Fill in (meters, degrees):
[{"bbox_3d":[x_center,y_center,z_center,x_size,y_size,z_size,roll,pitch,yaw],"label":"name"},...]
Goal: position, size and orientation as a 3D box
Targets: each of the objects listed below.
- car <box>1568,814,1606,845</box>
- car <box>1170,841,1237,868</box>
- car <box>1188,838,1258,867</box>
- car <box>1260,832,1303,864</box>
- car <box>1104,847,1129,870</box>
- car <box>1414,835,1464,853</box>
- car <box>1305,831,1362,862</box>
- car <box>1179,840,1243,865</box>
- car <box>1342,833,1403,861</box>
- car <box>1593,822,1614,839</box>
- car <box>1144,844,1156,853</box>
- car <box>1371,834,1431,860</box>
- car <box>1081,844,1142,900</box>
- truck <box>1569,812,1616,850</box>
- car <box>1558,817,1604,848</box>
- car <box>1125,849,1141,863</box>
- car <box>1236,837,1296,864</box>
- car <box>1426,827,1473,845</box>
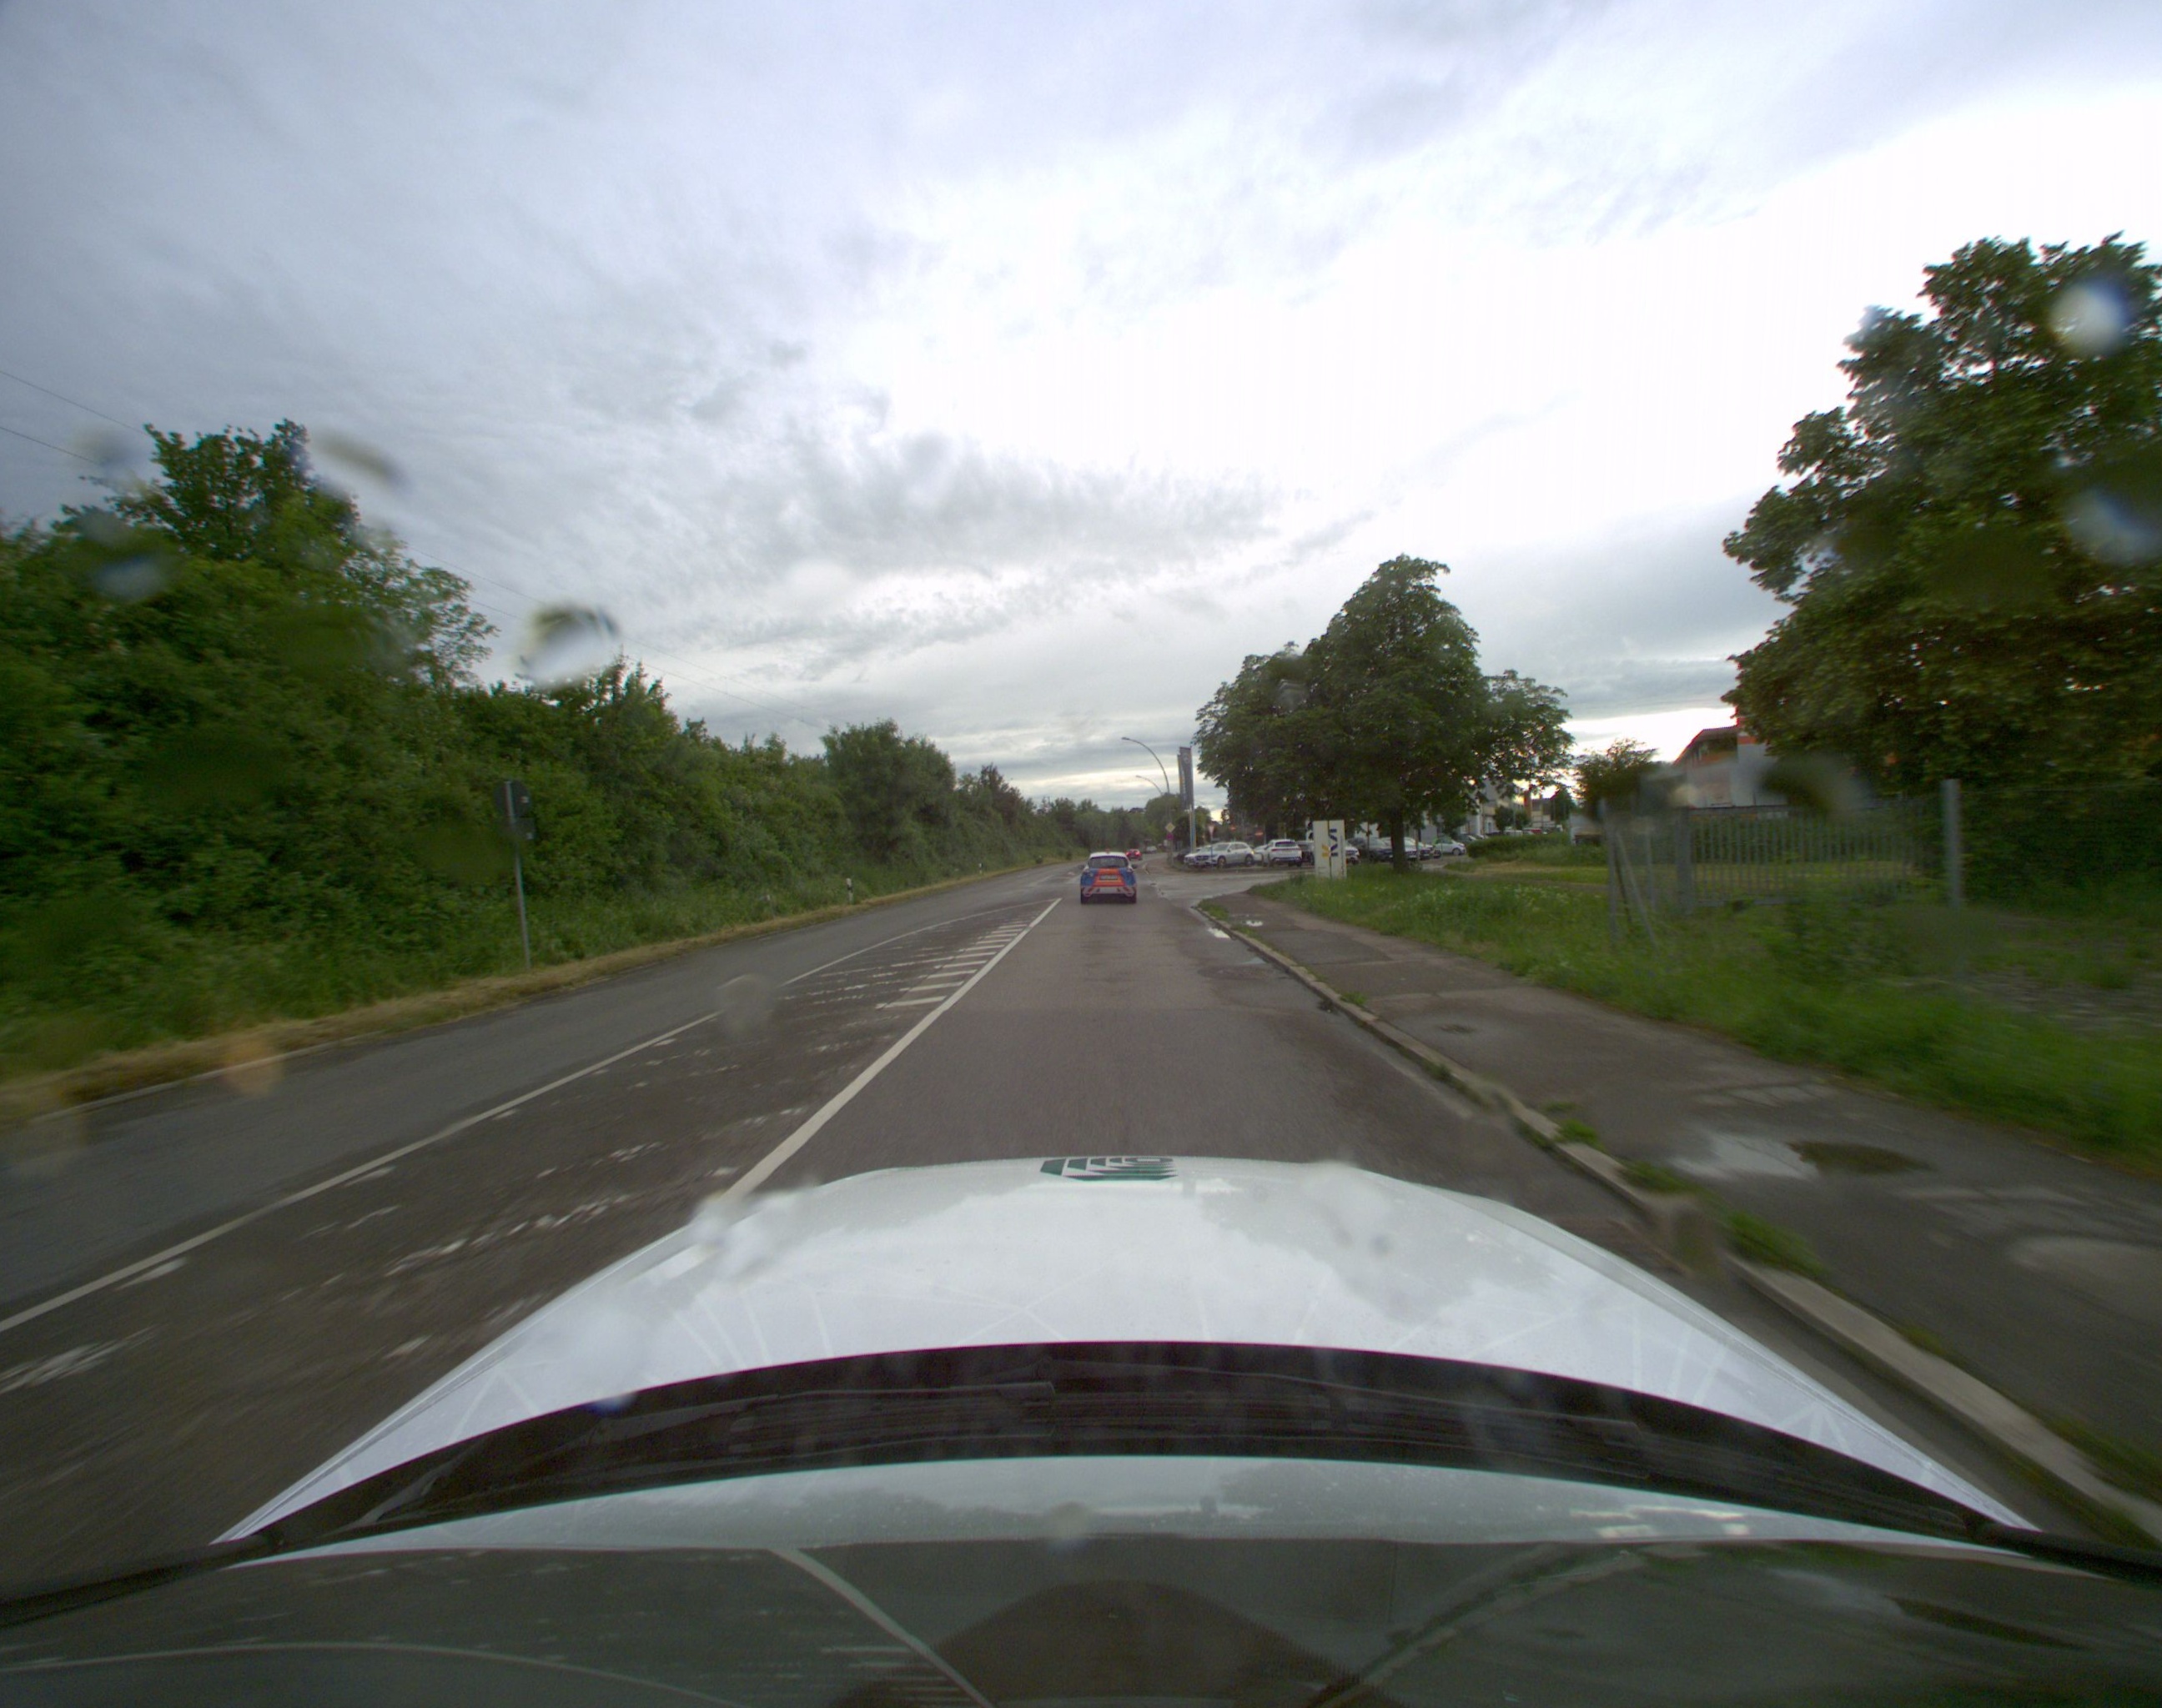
[{"bbox_3d":[39.105,-1.853,62.898,1.901,2.251,4.319,-2,0,38],"label":"car"},{"bbox_3d":[8.352,0.054,55.163,4.644,1.751,2.010,0,-3,-43],"label":"car"},{"bbox_3d":[9.056,-0.077,51.747,4.644,1.751,2.011,0,-1,-43],"label":"car"},{"bbox_3d":[12.015,-0.309,49.024,1.818,1.829,4.269,0,-1,5],"label":"car"},{"bbox_3d":[2.509,0.312,57.572,1.686,1.595,3.859,0,-1,3],"label":"car"},{"bbox_3d":[29.780,-0.804,67.832,3.619,1.376,1.665,0,-1,30],"label":"car"},{"bbox_3d":[14.922,-0.382,48.376,1.930,1.751,4.617,0,-1,0],"label":"car"},{"bbox_3d":[9.533,-0.103,59.508,4.638,1.751,1.788,0,-2,-35],"label":"car"},{"bbox_3d":[18.049,-0.400,50.631,1.648,1.602,4.607,0,-1,-7],"label":"car"},{"bbox_3d":[68.048,-3.008,106.037,1.901,2.041,4.319,-2,0,38],"label":"car"},{"bbox_3d":[14.051,-1.048,165.518,1.681,1.790,3.871,0,-1,15],"label":"car"},{"bbox_3d":[20.776,-0.423,53.089,1.648,1.602,4.607,0,-1,-7],"label":"car"},{"bbox_3d":[0.968,0.553,26.025,1.799,1.668,3.857,0,-1,2],"label":"car"},{"bbox_3d":[43.771,-1.925,69.626,2.456,2.995,6.965,-1,-1,40],"label":"truck"},{"bbox_3d":[34.457,-1.441,56.192,1.761,2.033,4.312,-1,0,18],"label":"car"},{"bbox_3d":[6.715,0.256,104.577,1.684,1.790,3.865,0,-1,9],"label":"car"},{"bbox_3d":[12.855,-0.272,56.370,1.907,1.751,4.646,-1,1,44],"label":"car"},{"bbox_3d":[32.061,-1.520,70.789,3.620,1.496,1.665,0,-1,28],"label":"car"}]
